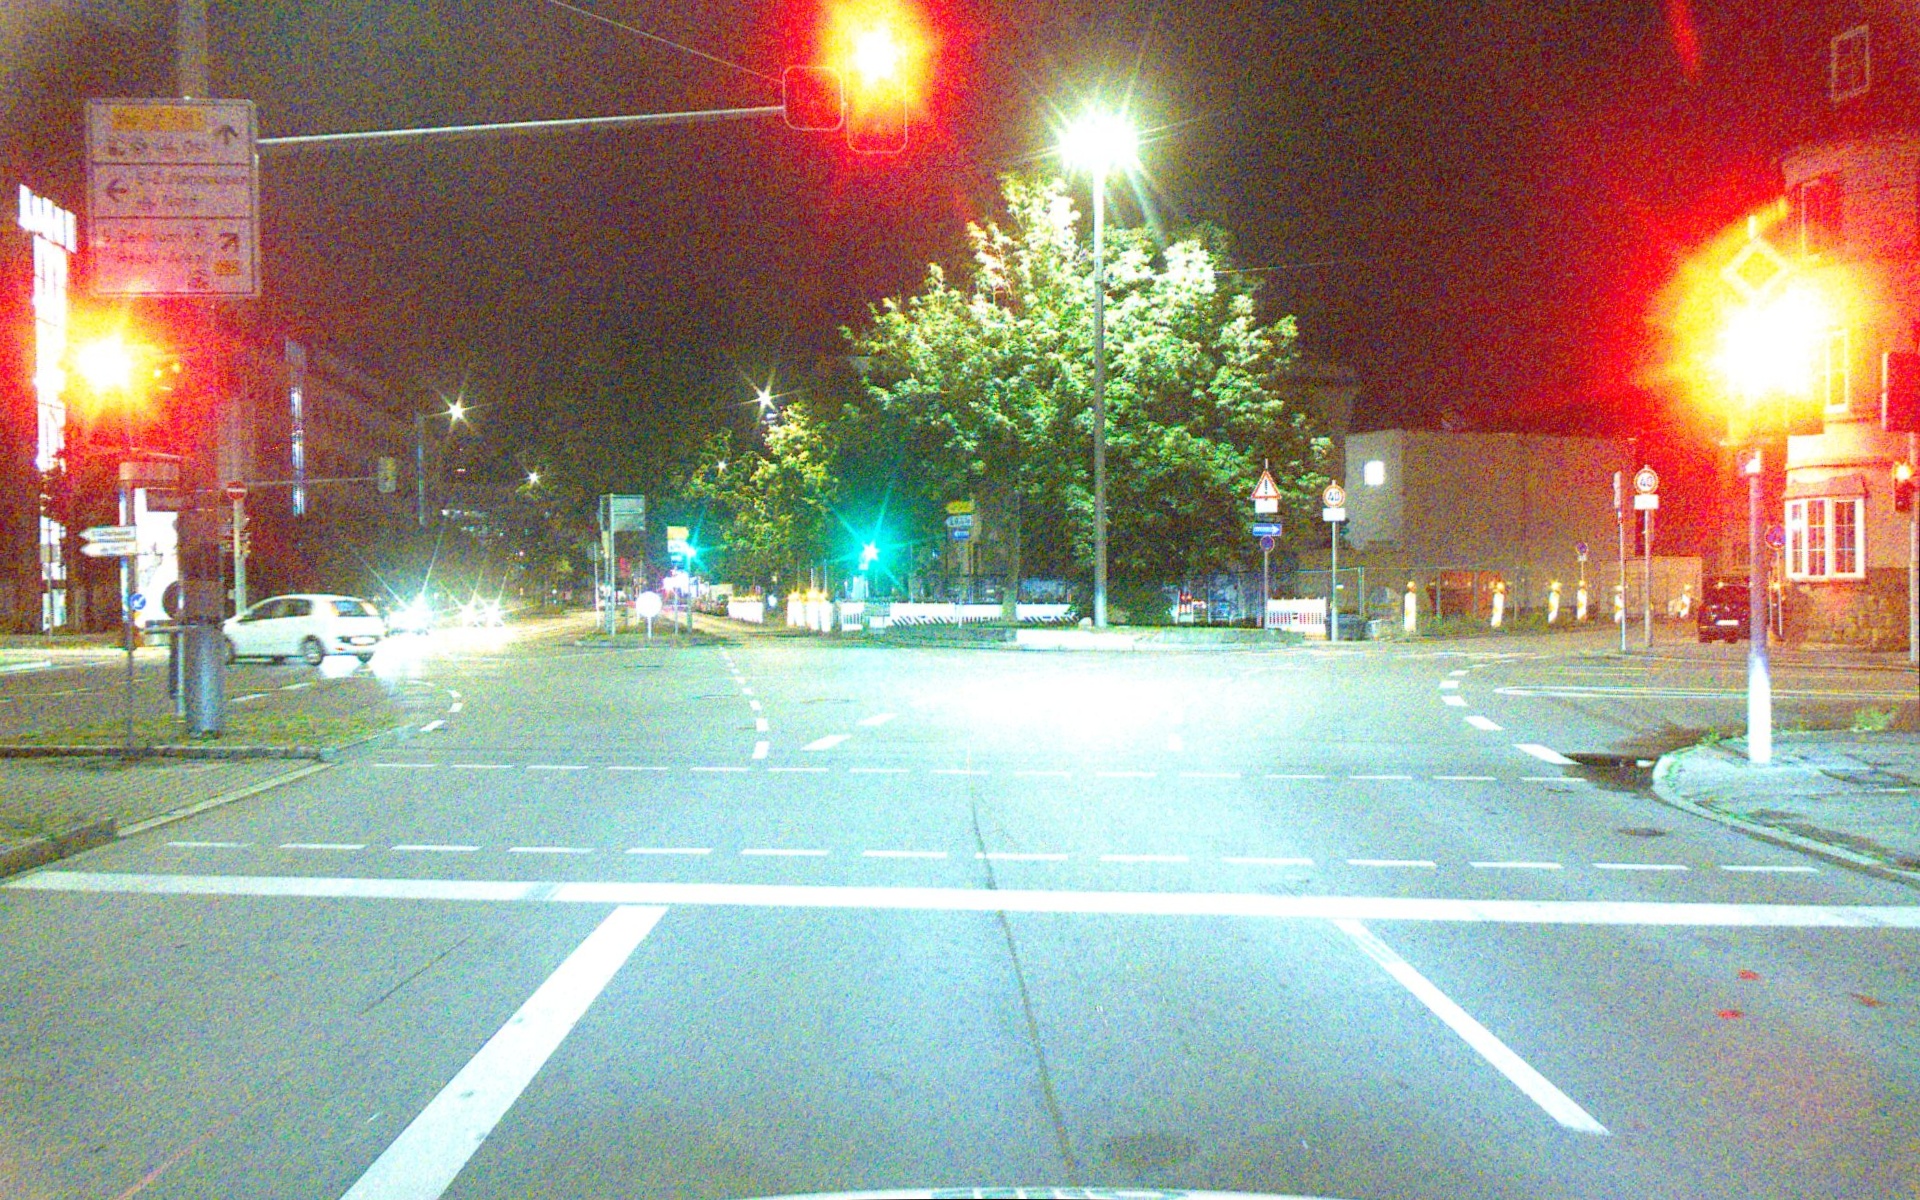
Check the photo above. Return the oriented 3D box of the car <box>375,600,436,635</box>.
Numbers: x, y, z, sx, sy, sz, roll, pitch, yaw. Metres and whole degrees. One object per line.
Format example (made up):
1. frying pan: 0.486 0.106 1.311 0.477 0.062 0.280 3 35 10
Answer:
1. car: -21.909 0.691 65.455 1.725 1.345 3.540 0 0 -9

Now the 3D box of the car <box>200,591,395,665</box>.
1. car: -14.221 0.598 35.486 3.908 1.518 1.707 -1 -1 26

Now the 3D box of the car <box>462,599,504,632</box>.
1. car: -26.095 0.866 90.576 1.725 1.758 3.540 0 0 -9

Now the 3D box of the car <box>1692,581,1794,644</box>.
1. car: 21.238 0.333 44.829 1.700 1.640 3.606 -1 -1 39
